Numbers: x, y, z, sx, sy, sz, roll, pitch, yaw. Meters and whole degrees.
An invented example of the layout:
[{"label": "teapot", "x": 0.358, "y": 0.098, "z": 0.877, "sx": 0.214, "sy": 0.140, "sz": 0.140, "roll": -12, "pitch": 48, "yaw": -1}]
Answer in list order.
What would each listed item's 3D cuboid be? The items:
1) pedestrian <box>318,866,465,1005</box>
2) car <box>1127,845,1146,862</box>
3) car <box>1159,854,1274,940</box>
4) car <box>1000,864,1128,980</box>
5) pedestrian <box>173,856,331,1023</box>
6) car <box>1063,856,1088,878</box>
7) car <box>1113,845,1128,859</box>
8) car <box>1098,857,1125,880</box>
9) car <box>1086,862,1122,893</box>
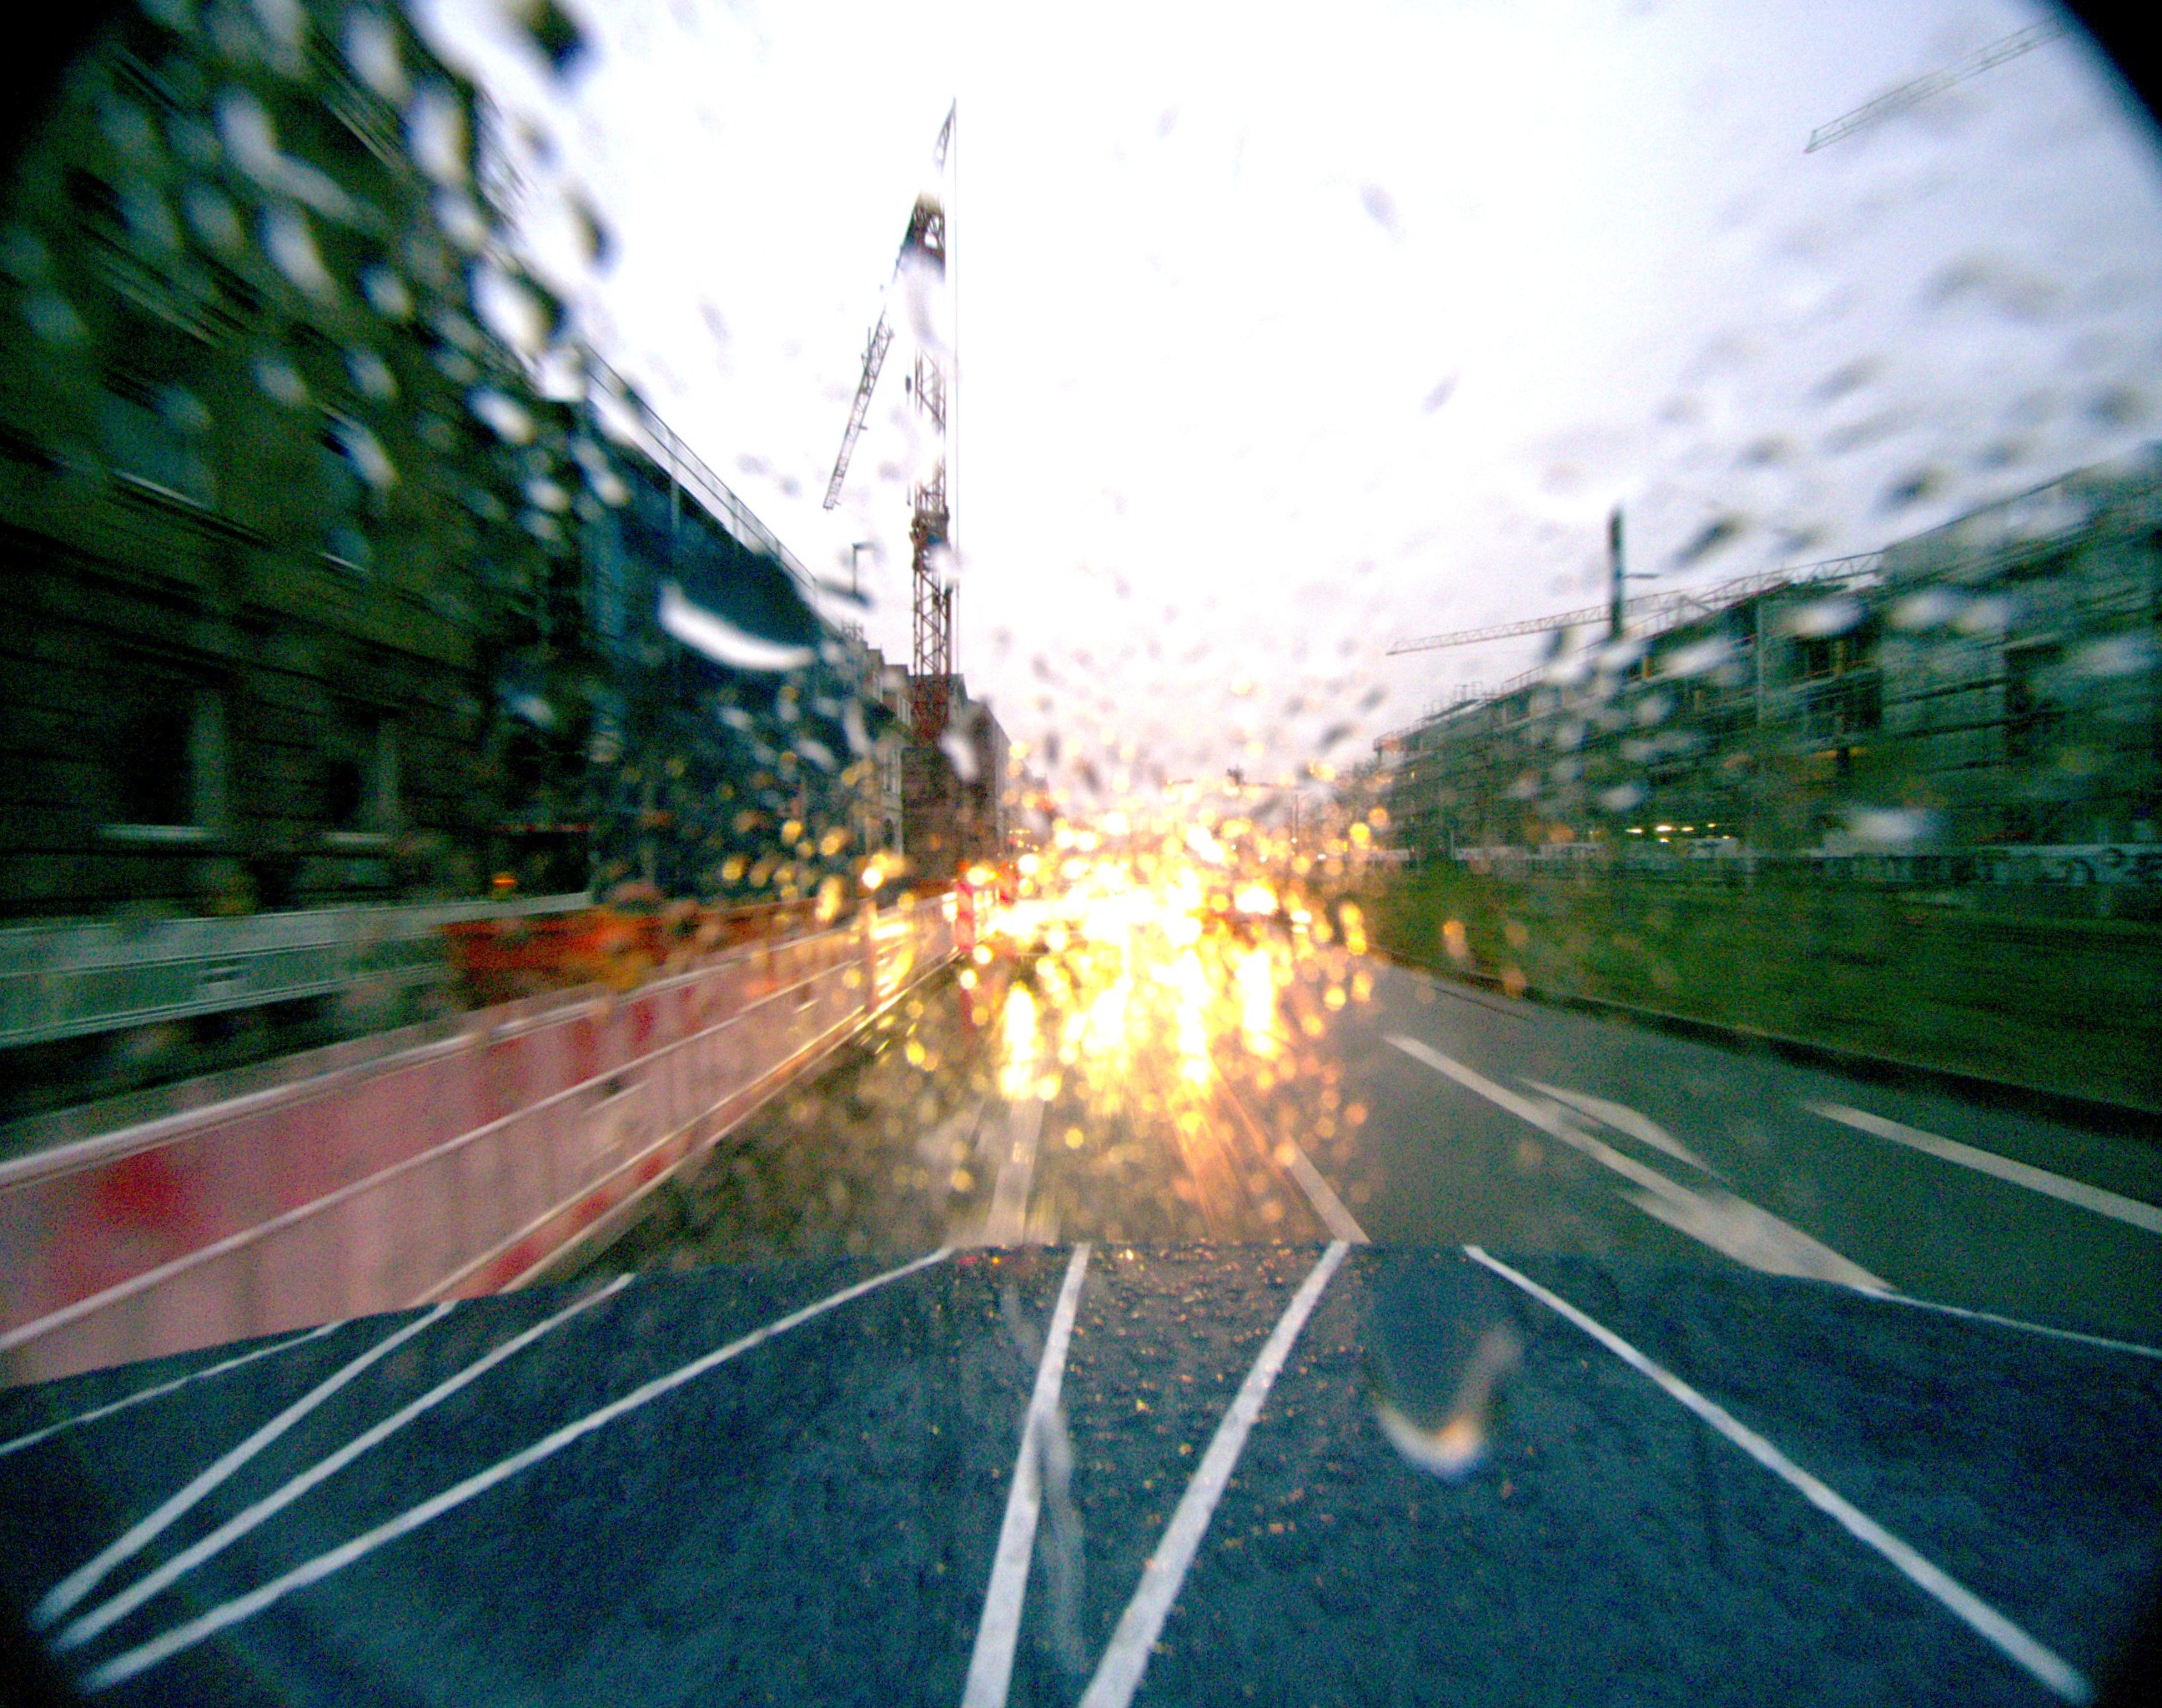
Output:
[{"label": "pedestrian", "x": -8.060, "y": 0.913, "z": 8.929, "sx": 0.870, "sy": 1.536, "sz": 0.929, "roll": 0, "pitch": 0, "yaw": 1}, {"label": "car", "x": 5.492, "y": -0.075, "z": 75.101, "sx": 1.768, "sy": 1.614, "sz": 3.900, "roll": -2, "pitch": 1, "yaw": 3}, {"label": "car", "x": 2.838, "y": 0.843, "z": 16.766, "sx": 1.815, "sy": 1.636, "sz": 4.135, "roll": -1, "pitch": 0, "yaw": 1}, {"label": "car", "x": -0.262, "y": 0.993, "z": 12.764, "sx": 1.769, "sy": 1.504, "sz": 3.899, "roll": -2, "pitch": 1, "yaw": -1}, {"label": "pedestrian", "x": -8.616, "y": 0.853, "z": 7.931, "sx": 0.870, "sy": 1.663, "sz": 0.707, "roll": 0, "pitch": 0, "yaw": 0}, {"label": "car", "x": -0.424, "y": 1.001, "z": 58.089, "sx": 1.769, "sy": 1.504, "sz": 3.899, "roll": -2, "pitch": 1, "yaw": -1}, {"label": "car", "x": 4.933, "y": -0.273, "z": 94.793, "sx": 1.768, "sy": 1.614, "sz": 3.900, "roll": -2, "pitch": 1, "yaw": 3}, {"label": "car", "x": 2.189, "y": 1.011, "z": 55.612, "sx": 1.769, "sy": 1.504, "sz": 3.899, "roll": -2, "pitch": 1, "yaw": -1}, {"label": "car", "x": 1.234, "y": 1.240, "z": 41.955, "sx": 1.769, "sy": 1.504, "sz": 3.899, "roll": -2, "pitch": 1, "yaw": -1}]
